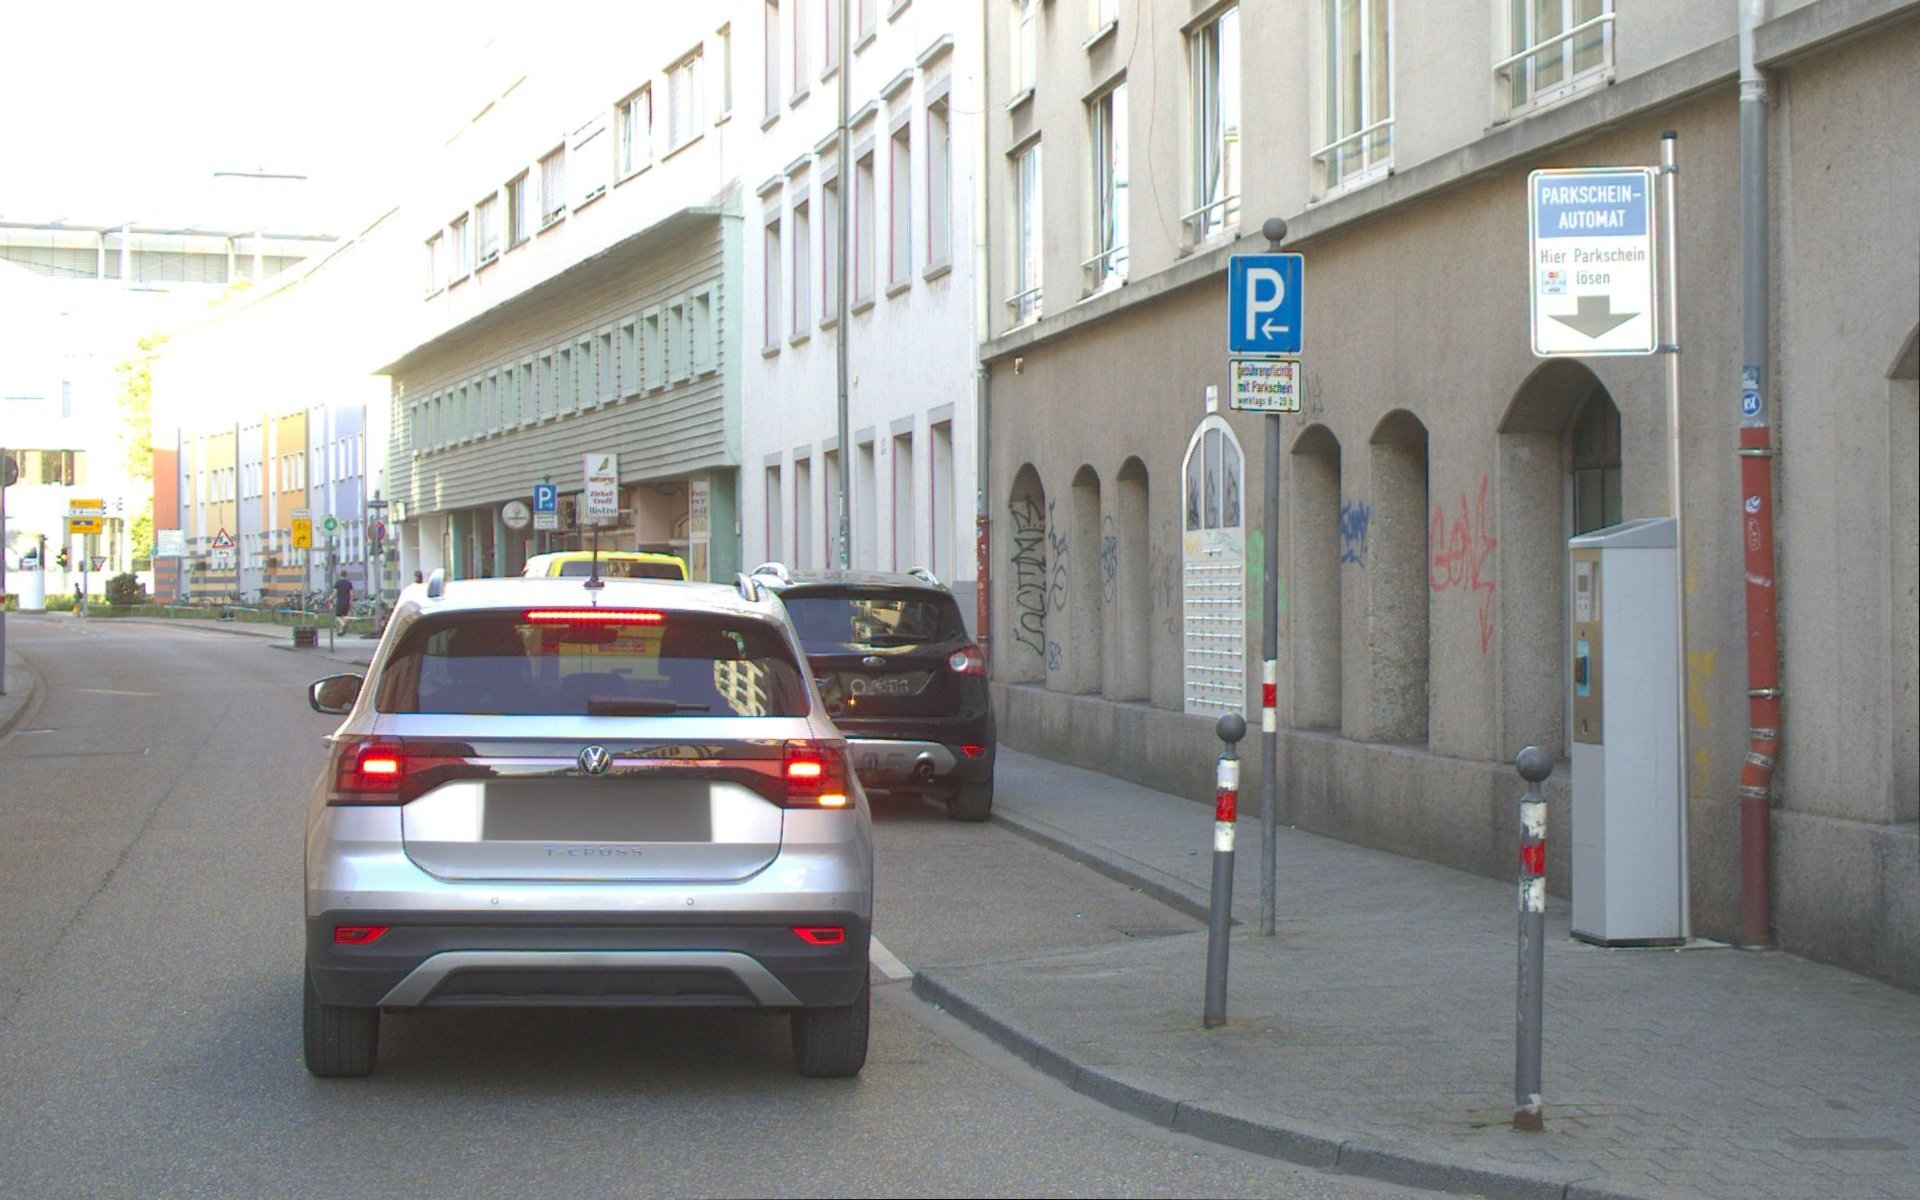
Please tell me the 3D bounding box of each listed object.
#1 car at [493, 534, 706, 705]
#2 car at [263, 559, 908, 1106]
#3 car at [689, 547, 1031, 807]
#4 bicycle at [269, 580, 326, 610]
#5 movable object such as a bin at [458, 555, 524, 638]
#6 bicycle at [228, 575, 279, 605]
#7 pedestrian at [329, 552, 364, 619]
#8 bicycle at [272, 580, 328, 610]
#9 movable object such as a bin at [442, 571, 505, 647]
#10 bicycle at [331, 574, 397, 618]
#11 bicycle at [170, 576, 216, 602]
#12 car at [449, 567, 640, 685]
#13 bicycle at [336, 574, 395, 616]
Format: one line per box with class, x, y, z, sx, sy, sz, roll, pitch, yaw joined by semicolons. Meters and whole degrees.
car;-4.321;0.194;40.566;1.883;1.875;4.847;1;0;-13
car;-1.335;0.649;11.857;1.824;1.554;3.987;1;0;-8
car;-0.805;0.472;24.151;1.824;1.649;4.494;1;0;-9
bicycle;-21.827;-0.159;113.262;1.748;0.943;0.552;-1;0;-18
movable object such as a bin;-8.796;-0.056;64.465;0.981;1.475;1.552;-2;-1;-16
bicycle;-26.437;-0.373;128.671;1.810;1.133;0.552;-1;0;-20
pedestrian;-16.642;-0.395;93.262;0.696;1.754;1.189;-3;1;-18
bicycle;-21.609;-0.156;112.573;1.748;0.943;0.552;-1;0;-18
movable object such as a bin;-9.347;0.177;66.004;0.981;1.380;1.321;-2;-1;-16
bicycle;-17.218;-0.121;99.345;1.748;1.137;0.552;-4;2;-18
bicycle;-31.648;-0.445;141.820;1.753;1.000;0.613;-2;0;-23
car;-5.604;0.320;45.981;1.883;1.484;4.369;1;0;-16
bicycle;-17.430;-0.146;100.760;1.640;1.137;0.283;-4;2;-26
